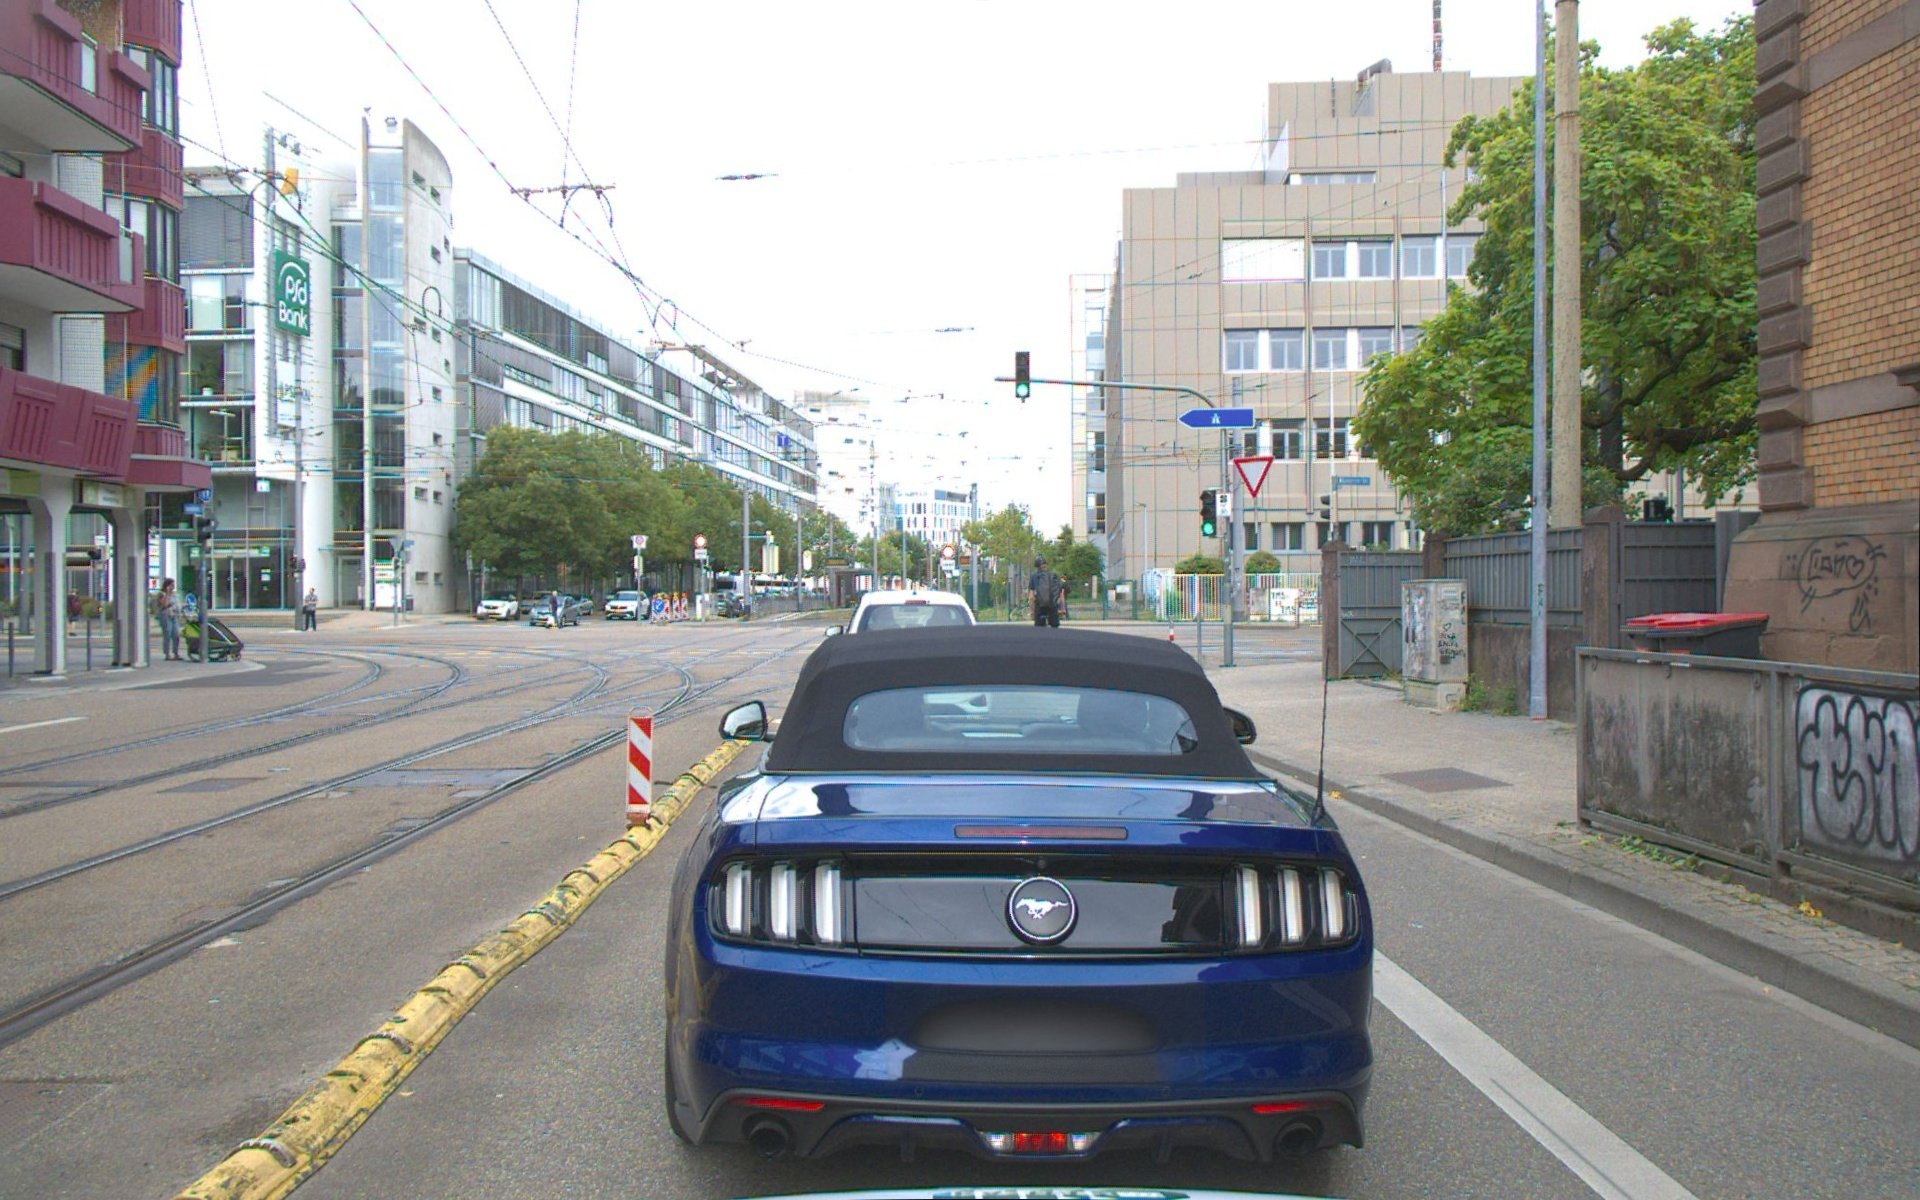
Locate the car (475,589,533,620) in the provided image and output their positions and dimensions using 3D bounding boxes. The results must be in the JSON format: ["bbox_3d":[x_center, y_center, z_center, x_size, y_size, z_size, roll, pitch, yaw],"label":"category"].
[{"bbox_3d":[-24.931,0.221,90.521,1.791,1.584,4.218,1,1,3],"label":"car"}]

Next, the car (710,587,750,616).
[{"bbox_3d":[-13.465,0.084,97.045,1.841,1.657,4.086,-1,0,-1],"label":"car"}]

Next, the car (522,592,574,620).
[{"bbox_3d":[-24.316,0.328,97.780,1.791,1.584,4.218,1,1,3],"label":"car"}]

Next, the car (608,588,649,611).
[{"bbox_3d":[-23.225,-0.050,115.993,1.945,1.584,4.513,1,1,0],"label":"car"}]

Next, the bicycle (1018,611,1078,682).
[{"bbox_3d":[1.451,0.748,27.525,0.784,1.105,2.130,-1,0,-3],"label":"bicycle"}]

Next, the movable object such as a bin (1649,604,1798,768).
[{"bbox_3d":[5.491,0.602,11.930,0.650,1.101,0.700,-4,0,-6],"label":"movable object such as a bin"}]

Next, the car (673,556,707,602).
[{"bbox_3d":[-22.020,-1.711,135.028,1.945,3.700,4.513,1,0,0],"label":"car"}]

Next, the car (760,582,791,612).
[{"bbox_3d":[-12.904,-0.215,115.756,1.749,2.022,4.120,-1,0,-1],"label":"car"}]

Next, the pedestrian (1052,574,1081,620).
[{"bbox_3d":[4.555,-0.143,70.598,1.063,1.931,0.902,-1,0,14],"label":"pedestrian"}]

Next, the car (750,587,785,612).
[{"bbox_3d":[-12.845,-0.044,110.589,1.830,1.634,4.212,-1,0,-1],"label":"car"}]

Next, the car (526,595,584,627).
[{"bbox_3d":[-20.201,0.526,82.670,1.633,1.533,4.236,1,1,3],"label":"car"}]

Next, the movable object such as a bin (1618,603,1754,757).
[{"bbox_3d":[5.538,0.596,12.647,0.638,1.101,0.677,-4,0,-6],"label":"movable object such as a bin"}]

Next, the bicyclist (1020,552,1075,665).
[{"bbox_3d":[1.441,0.128,27.387,0.780,1.816,1.232,-1,0,-3],"label":"bicyclist"}]

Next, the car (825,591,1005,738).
[{"bbox_3d":[-0.620,0.641,18.899,1.799,1.464,4.183,-1,0,-5],"label":"car"}]

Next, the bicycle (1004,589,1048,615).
[{"bbox_3d":[2.887,0.095,72.505,0.629,0.998,2.125,-1,-2,-42],"label":"bicycle"}]

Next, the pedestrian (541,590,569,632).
[{"bbox_3d":[-18.715,0.498,76.434,0.968,1.888,0.902,-1,0,6],"label":"pedestrian"}]

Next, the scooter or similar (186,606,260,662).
[{"bbox_3d":[-15.569,0.718,34.959,1.172,1.148,0.946,0,0,-3],"label":"scooter or similar"}]

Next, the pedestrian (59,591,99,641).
[{"bbox_3d":[-30.586,0.561,57.420,0.915,1.700,0.766,-1,0,11],"label":"pedestrian"}]

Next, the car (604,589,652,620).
[{"bbox_3d":[-19.366,0.238,96.631,1.679,1.689,4.135,1,1,3],"label":"car"}]

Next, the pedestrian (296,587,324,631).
[{"bbox_3d":[-28.180,0.387,71.714,0.816,1.897,0.766,-1,0,11],"label":"pedestrian"}]

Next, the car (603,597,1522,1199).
[{"bbox_3d":[0.191,0.732,5.471,1.838,1.428,4.282,1,0,-1],"label":"car"}]

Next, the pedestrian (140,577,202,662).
[{"bbox_3d":[-16.629,0.400,34.856,0.929,1.774,0.811,0,0,-4],"label":"pedestrian"}]
